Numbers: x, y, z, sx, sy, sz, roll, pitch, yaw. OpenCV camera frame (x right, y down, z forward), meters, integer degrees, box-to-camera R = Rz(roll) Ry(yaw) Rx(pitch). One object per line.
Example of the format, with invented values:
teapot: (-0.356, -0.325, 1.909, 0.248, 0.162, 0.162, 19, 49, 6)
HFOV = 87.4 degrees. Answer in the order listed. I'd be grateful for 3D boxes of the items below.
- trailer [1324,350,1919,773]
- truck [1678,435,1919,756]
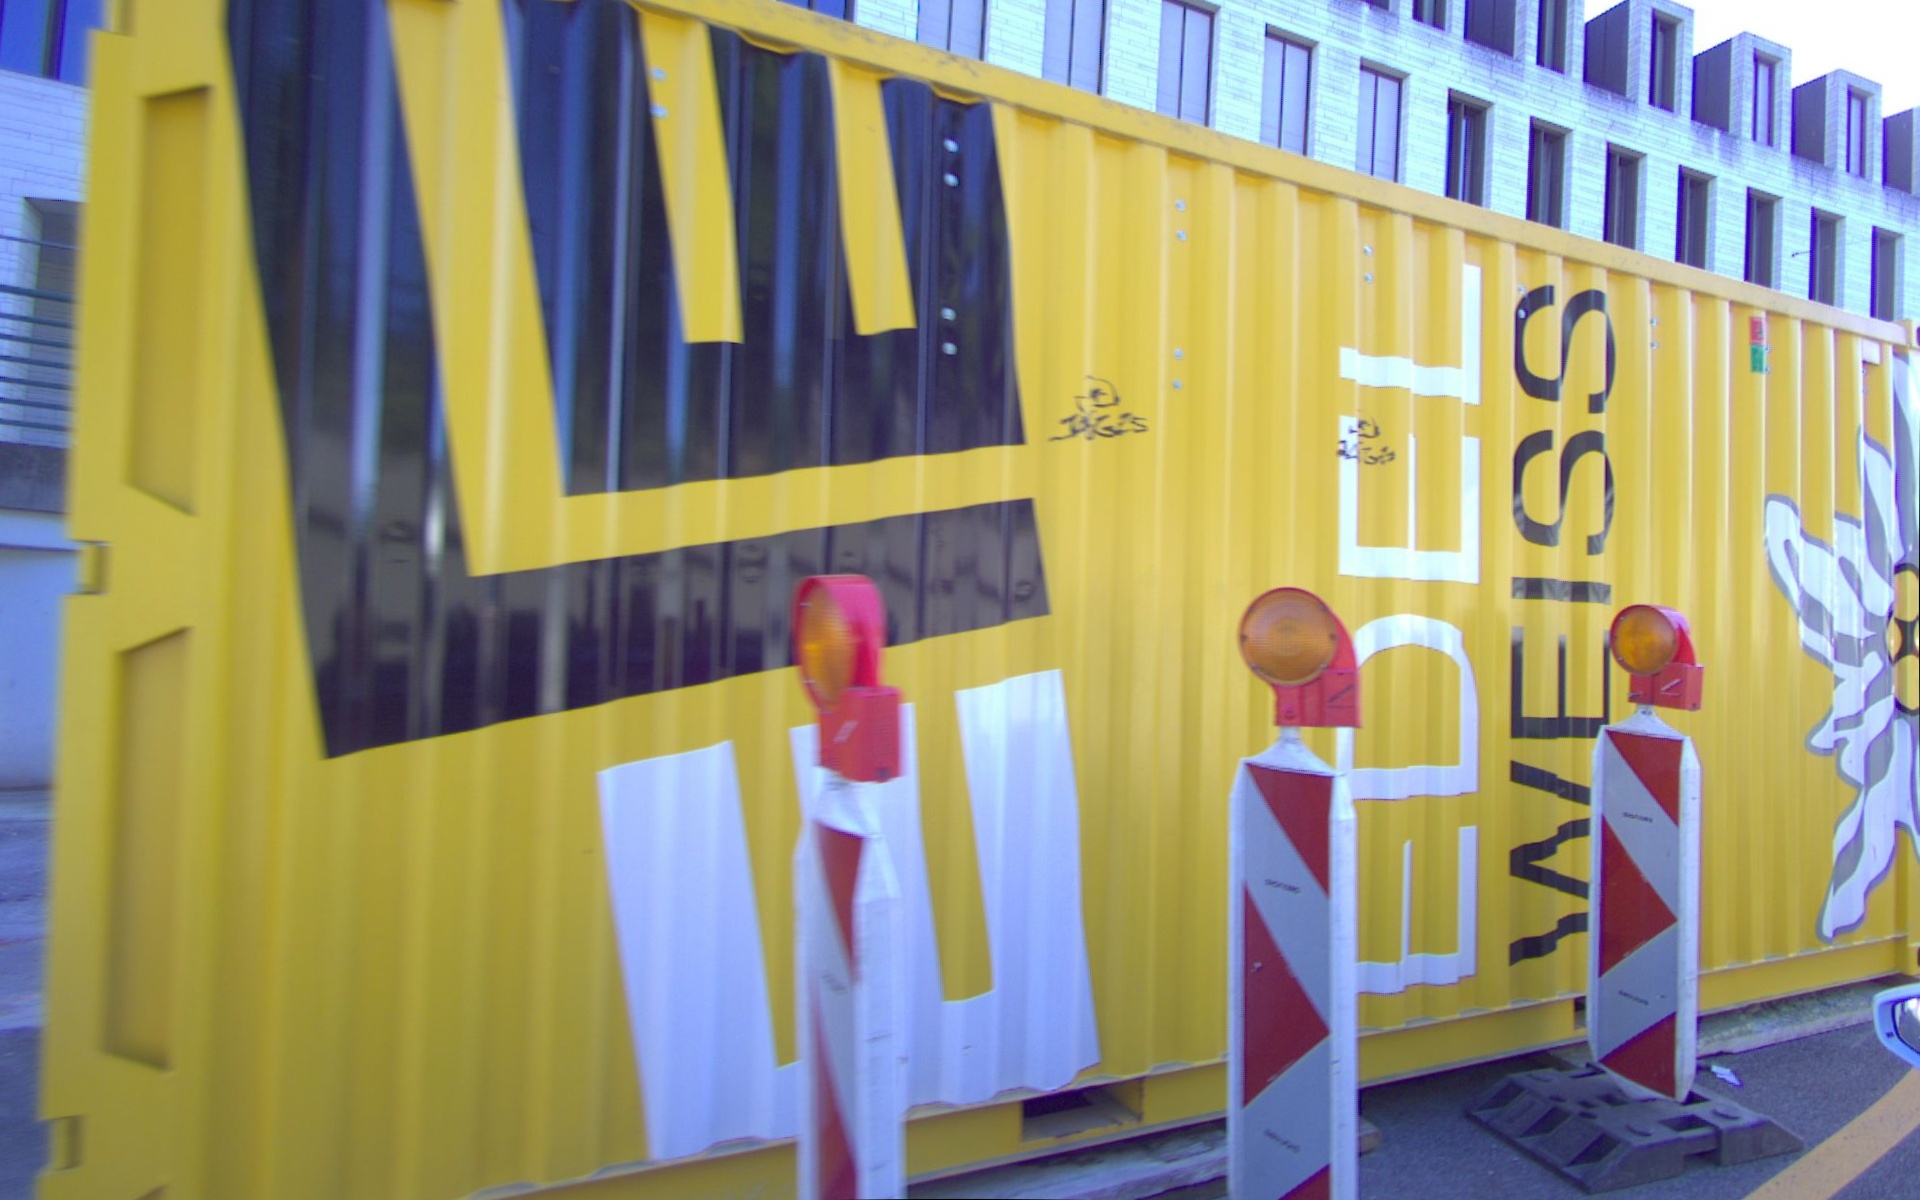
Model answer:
trailer: (8.592, -0.127, 11.593, 8.621, 3.715, 2.639, 2, -5, -22)
truck: (12.798, 0.125, 13.144, 5.727, 3.533, 2.578, 1, -6, -20)
